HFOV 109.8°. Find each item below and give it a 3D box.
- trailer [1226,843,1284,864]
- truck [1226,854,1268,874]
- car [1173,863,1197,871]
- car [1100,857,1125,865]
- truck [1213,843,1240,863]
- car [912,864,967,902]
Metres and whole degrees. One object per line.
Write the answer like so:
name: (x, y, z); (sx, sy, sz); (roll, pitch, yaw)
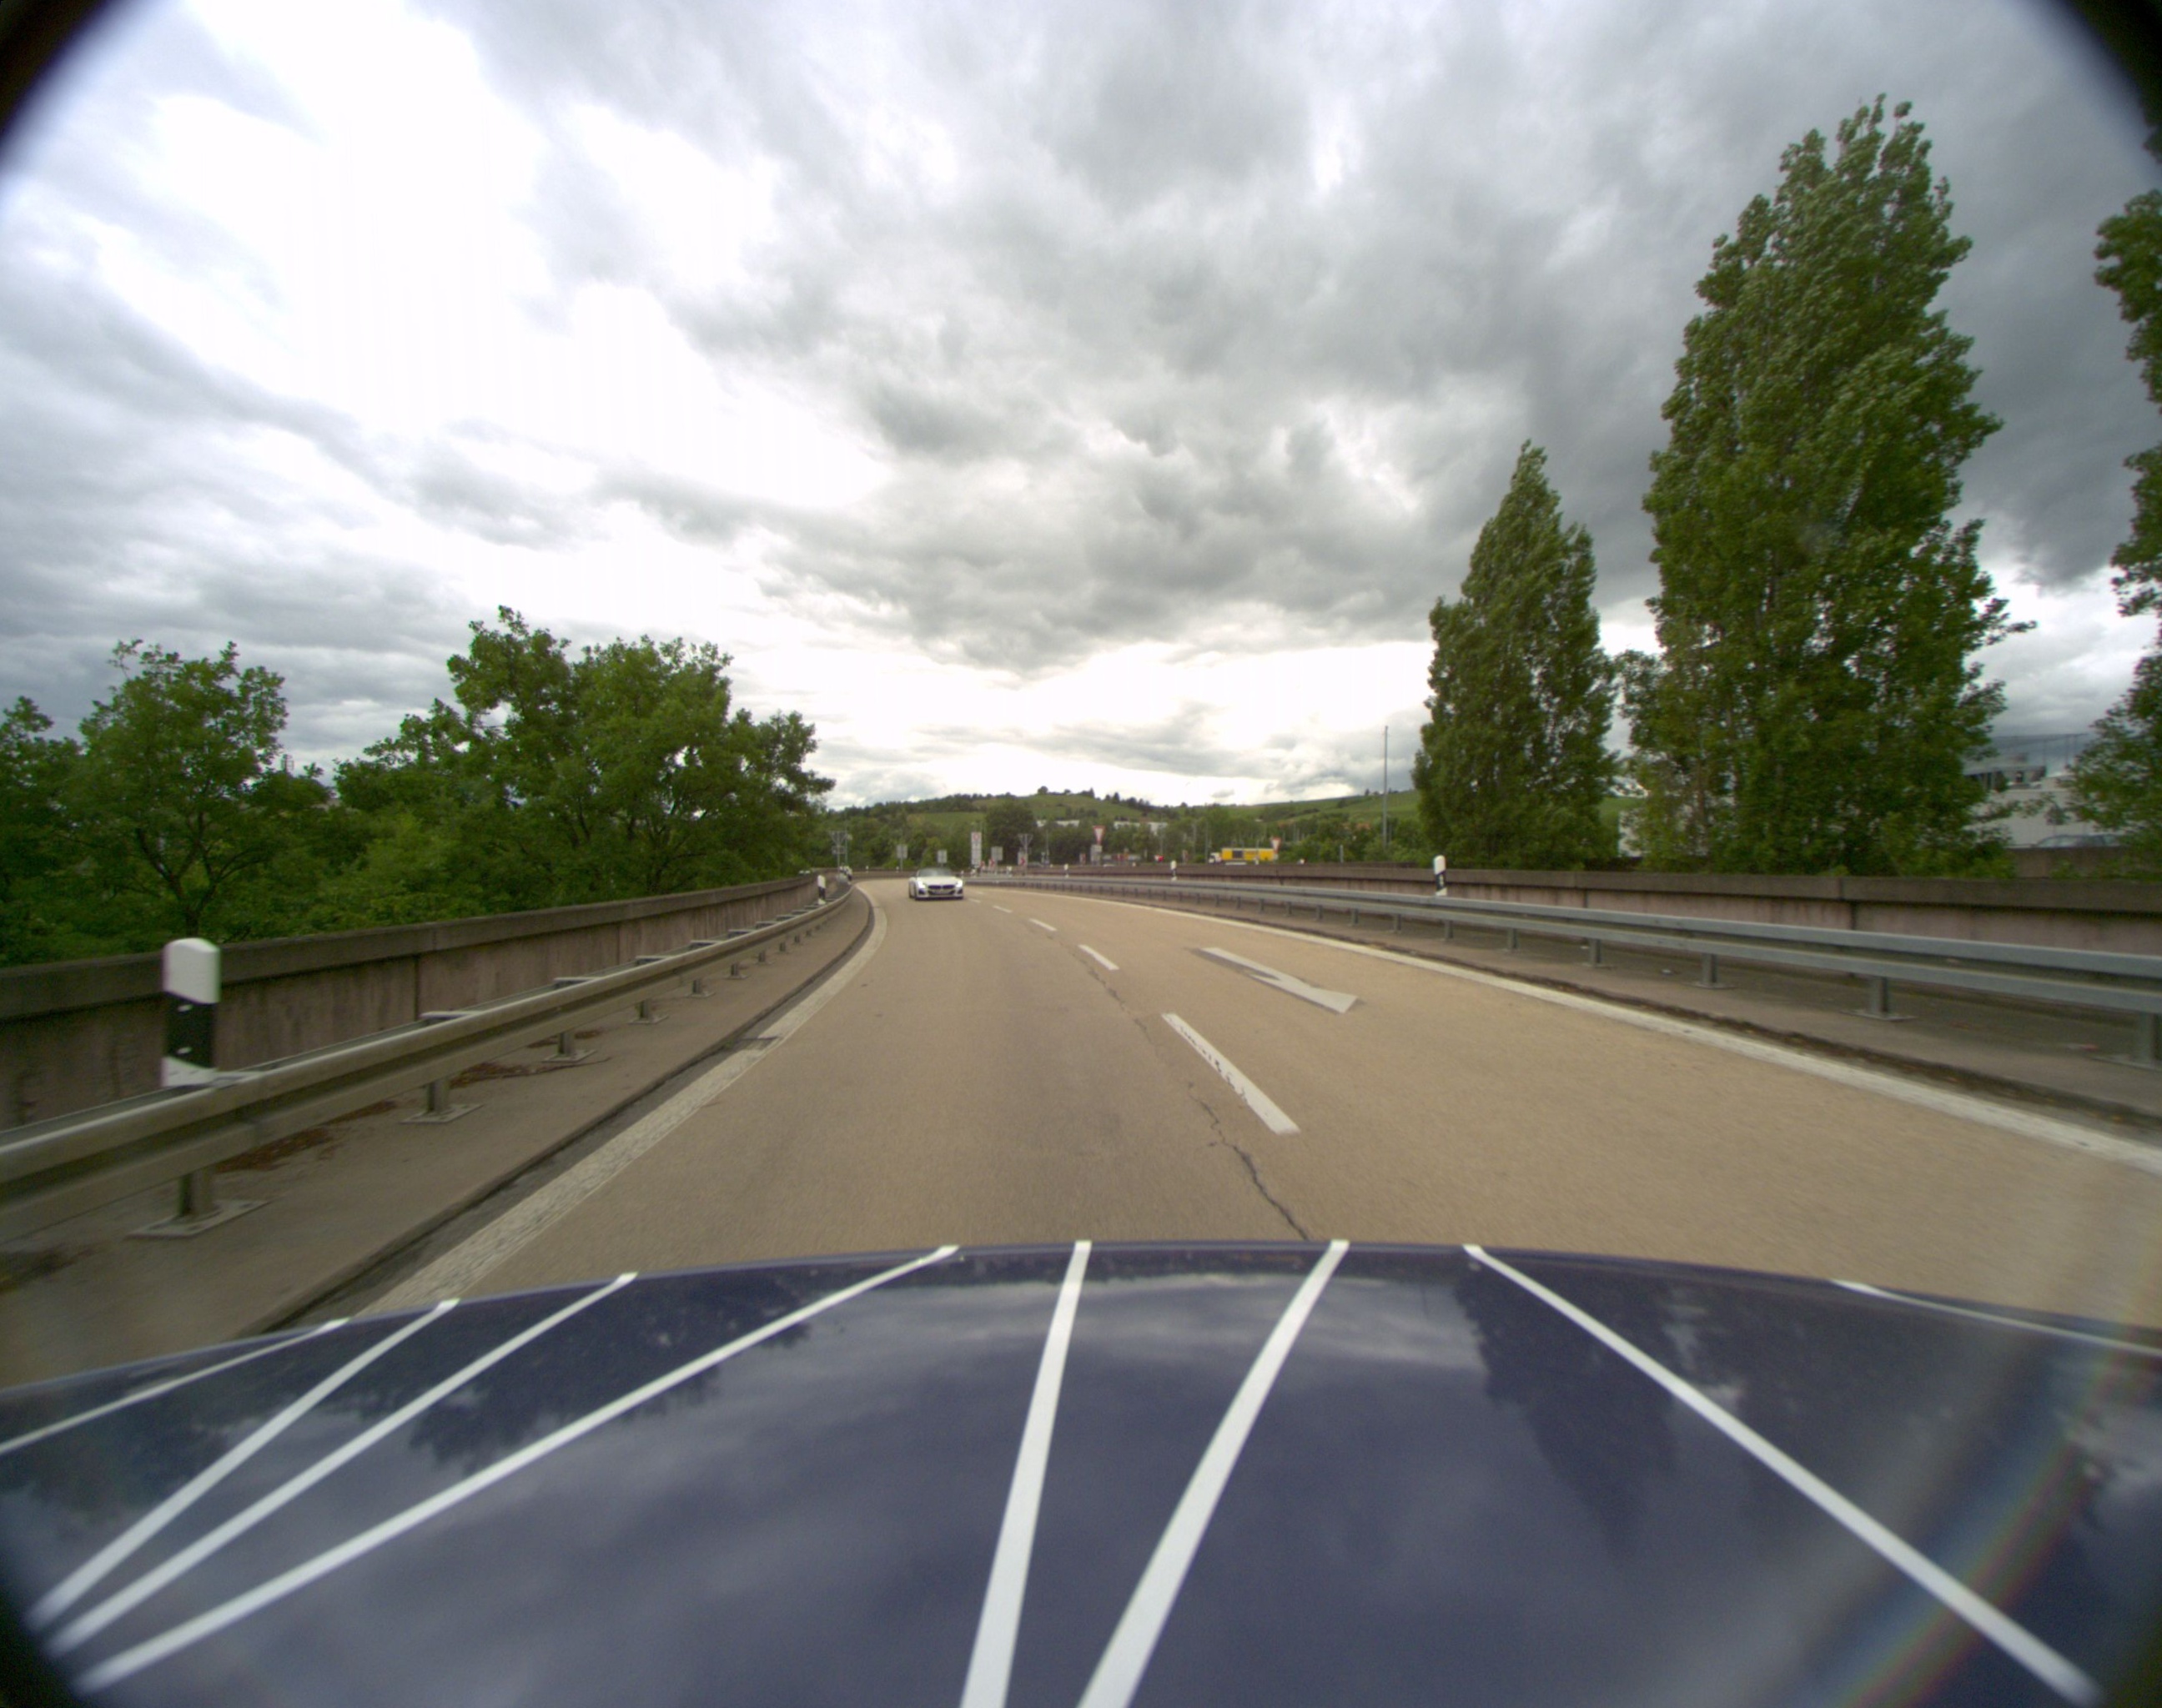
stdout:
trailer: (36.727, -0.163, 160.672); (11.623, 4.181, 2.640); (1, 2, 30)
truck: (27.791, 1.724, 127.293); (7.005, 3.244, 2.347); (0, 0, -29)
car: (20.552, 2.517, 150.048); (4.283, 1.548, 1.951); (0, 2, 28)
car: (6.529, 1.552, 158.054); (4.704, 1.552, 1.880); (-1, 2, 22)
truck: (31.402, -0.230, 163.736); (5.087, 4.181, 2.640); (1, 2, 30)
car: (-5.878, 1.123, 31.141); (1.865, 1.337, 4.818); (-1, 0, -15)
